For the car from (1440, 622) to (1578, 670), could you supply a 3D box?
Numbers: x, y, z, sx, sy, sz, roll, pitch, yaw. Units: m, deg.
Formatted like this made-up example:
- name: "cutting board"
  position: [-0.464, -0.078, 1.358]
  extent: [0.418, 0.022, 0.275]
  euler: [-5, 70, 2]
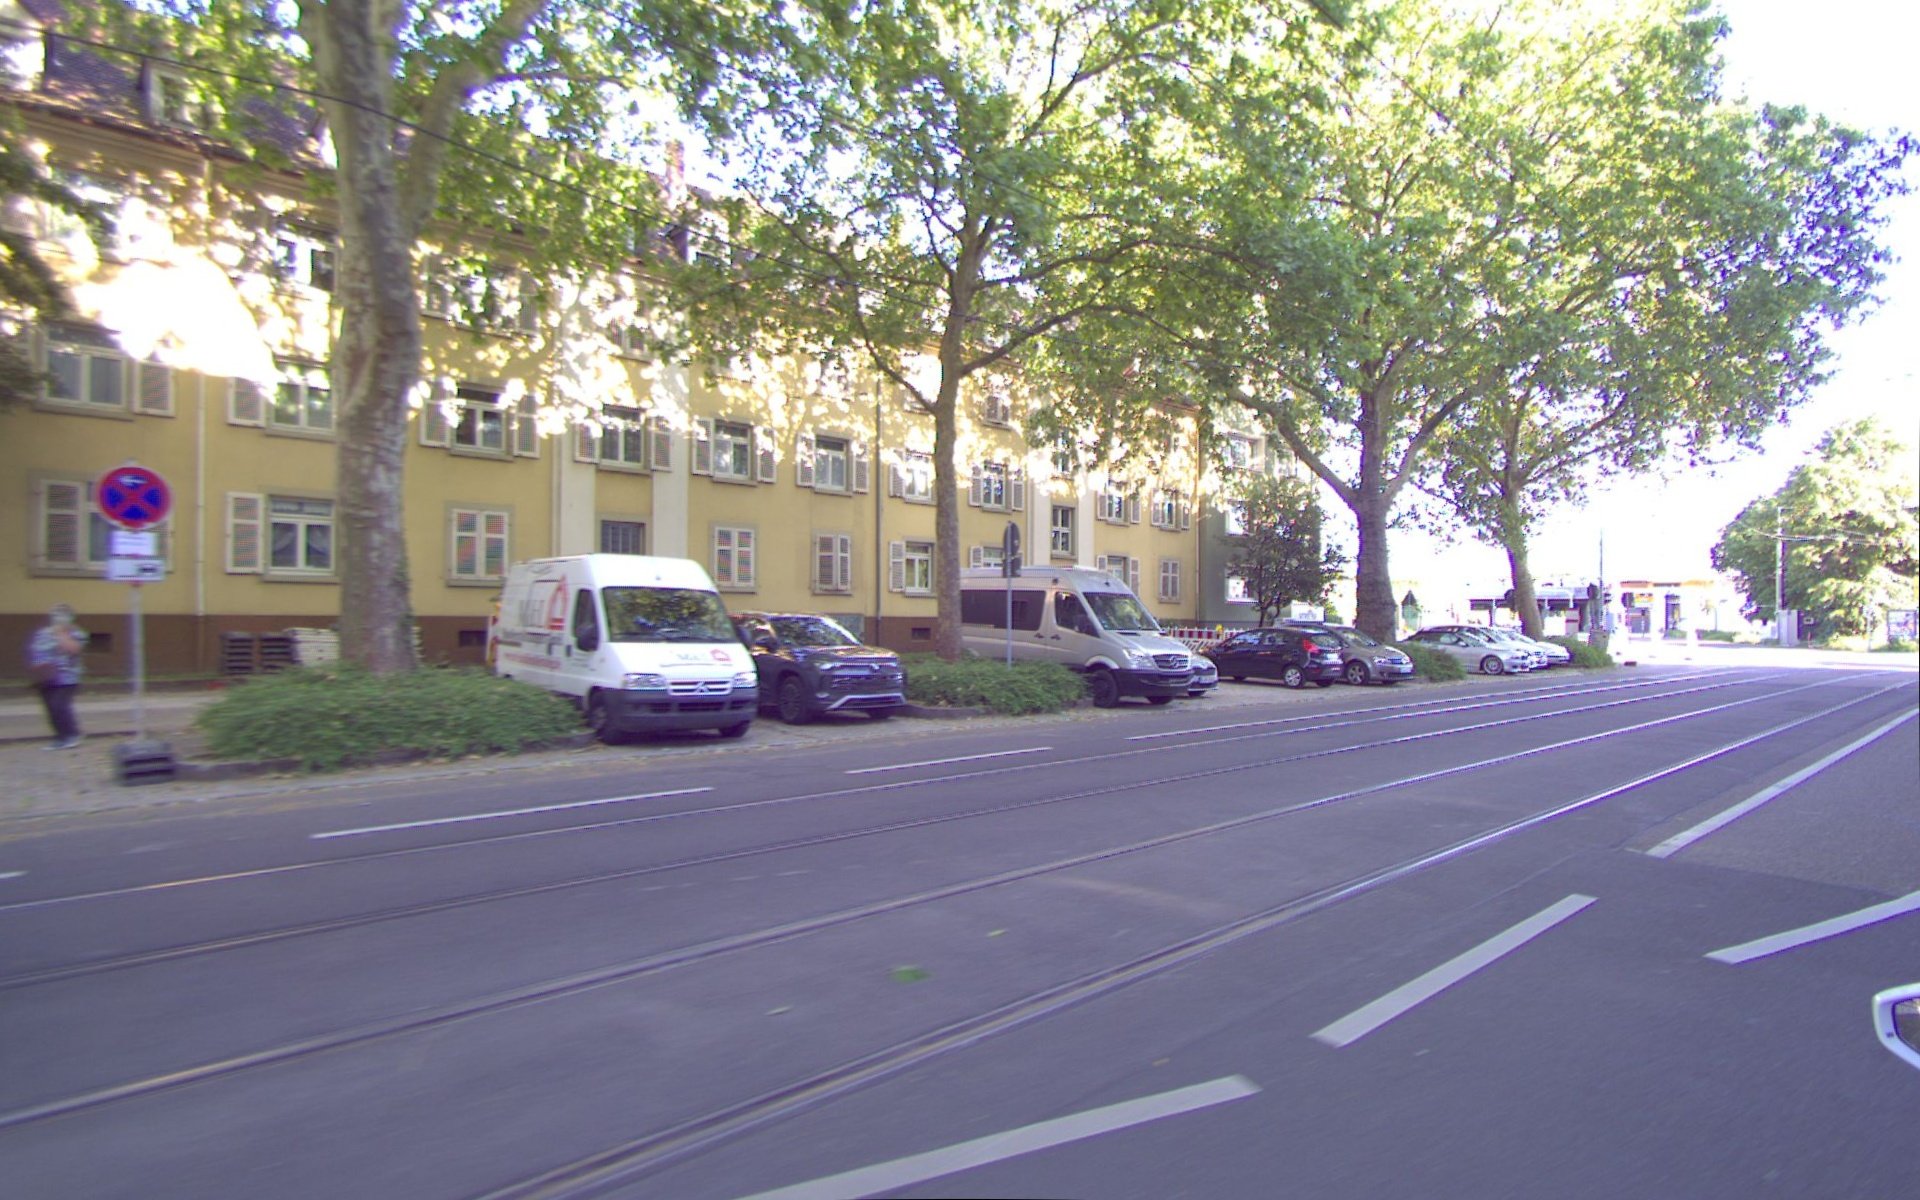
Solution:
- name: "car"
  position: [20.242, 1.653, 37.138]
  extent: [1.952, 1.693, 4.126]
  euler: [1, -2, -45]

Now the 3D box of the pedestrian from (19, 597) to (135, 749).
- name: "pedestrian"
  position: [-9.986, 0.794, 11.396]
  extent: [0.879, 1.634, 0.756]
  euler: [1, 0, -34]

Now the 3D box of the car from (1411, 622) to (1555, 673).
- name: "car"
  position: [18.421, 1.618, 35.464]
  extent: [1.952, 1.693, 4.126]
  euler: [1, -2, -45]

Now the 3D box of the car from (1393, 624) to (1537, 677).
- name: "car"
  position: [16.636, 1.623, 33.217]
  extent: [1.637, 1.535, 3.953]
  euler: [1, -1, -40]

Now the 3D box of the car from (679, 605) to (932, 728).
- name: "car"
  position: [-2.556, 0.970, 15.997]
  extent: [1.952, 1.693, 4.126]
  euler: [1, -2, -45]

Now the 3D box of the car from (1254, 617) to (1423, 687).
- name: "car"
  position: [10.037, 1.332, 26.854]
  extent: [1.637, 1.673, 3.953]
  euler: [1, -1, -40]

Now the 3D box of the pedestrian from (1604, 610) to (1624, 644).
- name: "pedestrian"
  position: [43.218, 1.769, 66.358]
  extent: [0.805, 2.250, 0.900]
  euler: [1, 0, 14]

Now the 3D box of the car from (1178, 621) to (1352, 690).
- name: "car"
  position: [7.706, 1.360, 25.619]
  extent: [3.945, 1.535, 1.640]
  euler: [1, -1, 44]

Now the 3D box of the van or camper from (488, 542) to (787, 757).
- name: "van or camper"
  position: [-4.752, 0.565, 14.123]
  extent: [2.249, 2.411, 5.459]
  euler: [1, -1, -38]

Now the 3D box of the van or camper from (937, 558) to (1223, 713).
- name: "van or camper"
  position: [2.225, 0.623, 20.236]
  extent: [2.252, 2.679, 5.673]
  euler: [1, -1, -41]
